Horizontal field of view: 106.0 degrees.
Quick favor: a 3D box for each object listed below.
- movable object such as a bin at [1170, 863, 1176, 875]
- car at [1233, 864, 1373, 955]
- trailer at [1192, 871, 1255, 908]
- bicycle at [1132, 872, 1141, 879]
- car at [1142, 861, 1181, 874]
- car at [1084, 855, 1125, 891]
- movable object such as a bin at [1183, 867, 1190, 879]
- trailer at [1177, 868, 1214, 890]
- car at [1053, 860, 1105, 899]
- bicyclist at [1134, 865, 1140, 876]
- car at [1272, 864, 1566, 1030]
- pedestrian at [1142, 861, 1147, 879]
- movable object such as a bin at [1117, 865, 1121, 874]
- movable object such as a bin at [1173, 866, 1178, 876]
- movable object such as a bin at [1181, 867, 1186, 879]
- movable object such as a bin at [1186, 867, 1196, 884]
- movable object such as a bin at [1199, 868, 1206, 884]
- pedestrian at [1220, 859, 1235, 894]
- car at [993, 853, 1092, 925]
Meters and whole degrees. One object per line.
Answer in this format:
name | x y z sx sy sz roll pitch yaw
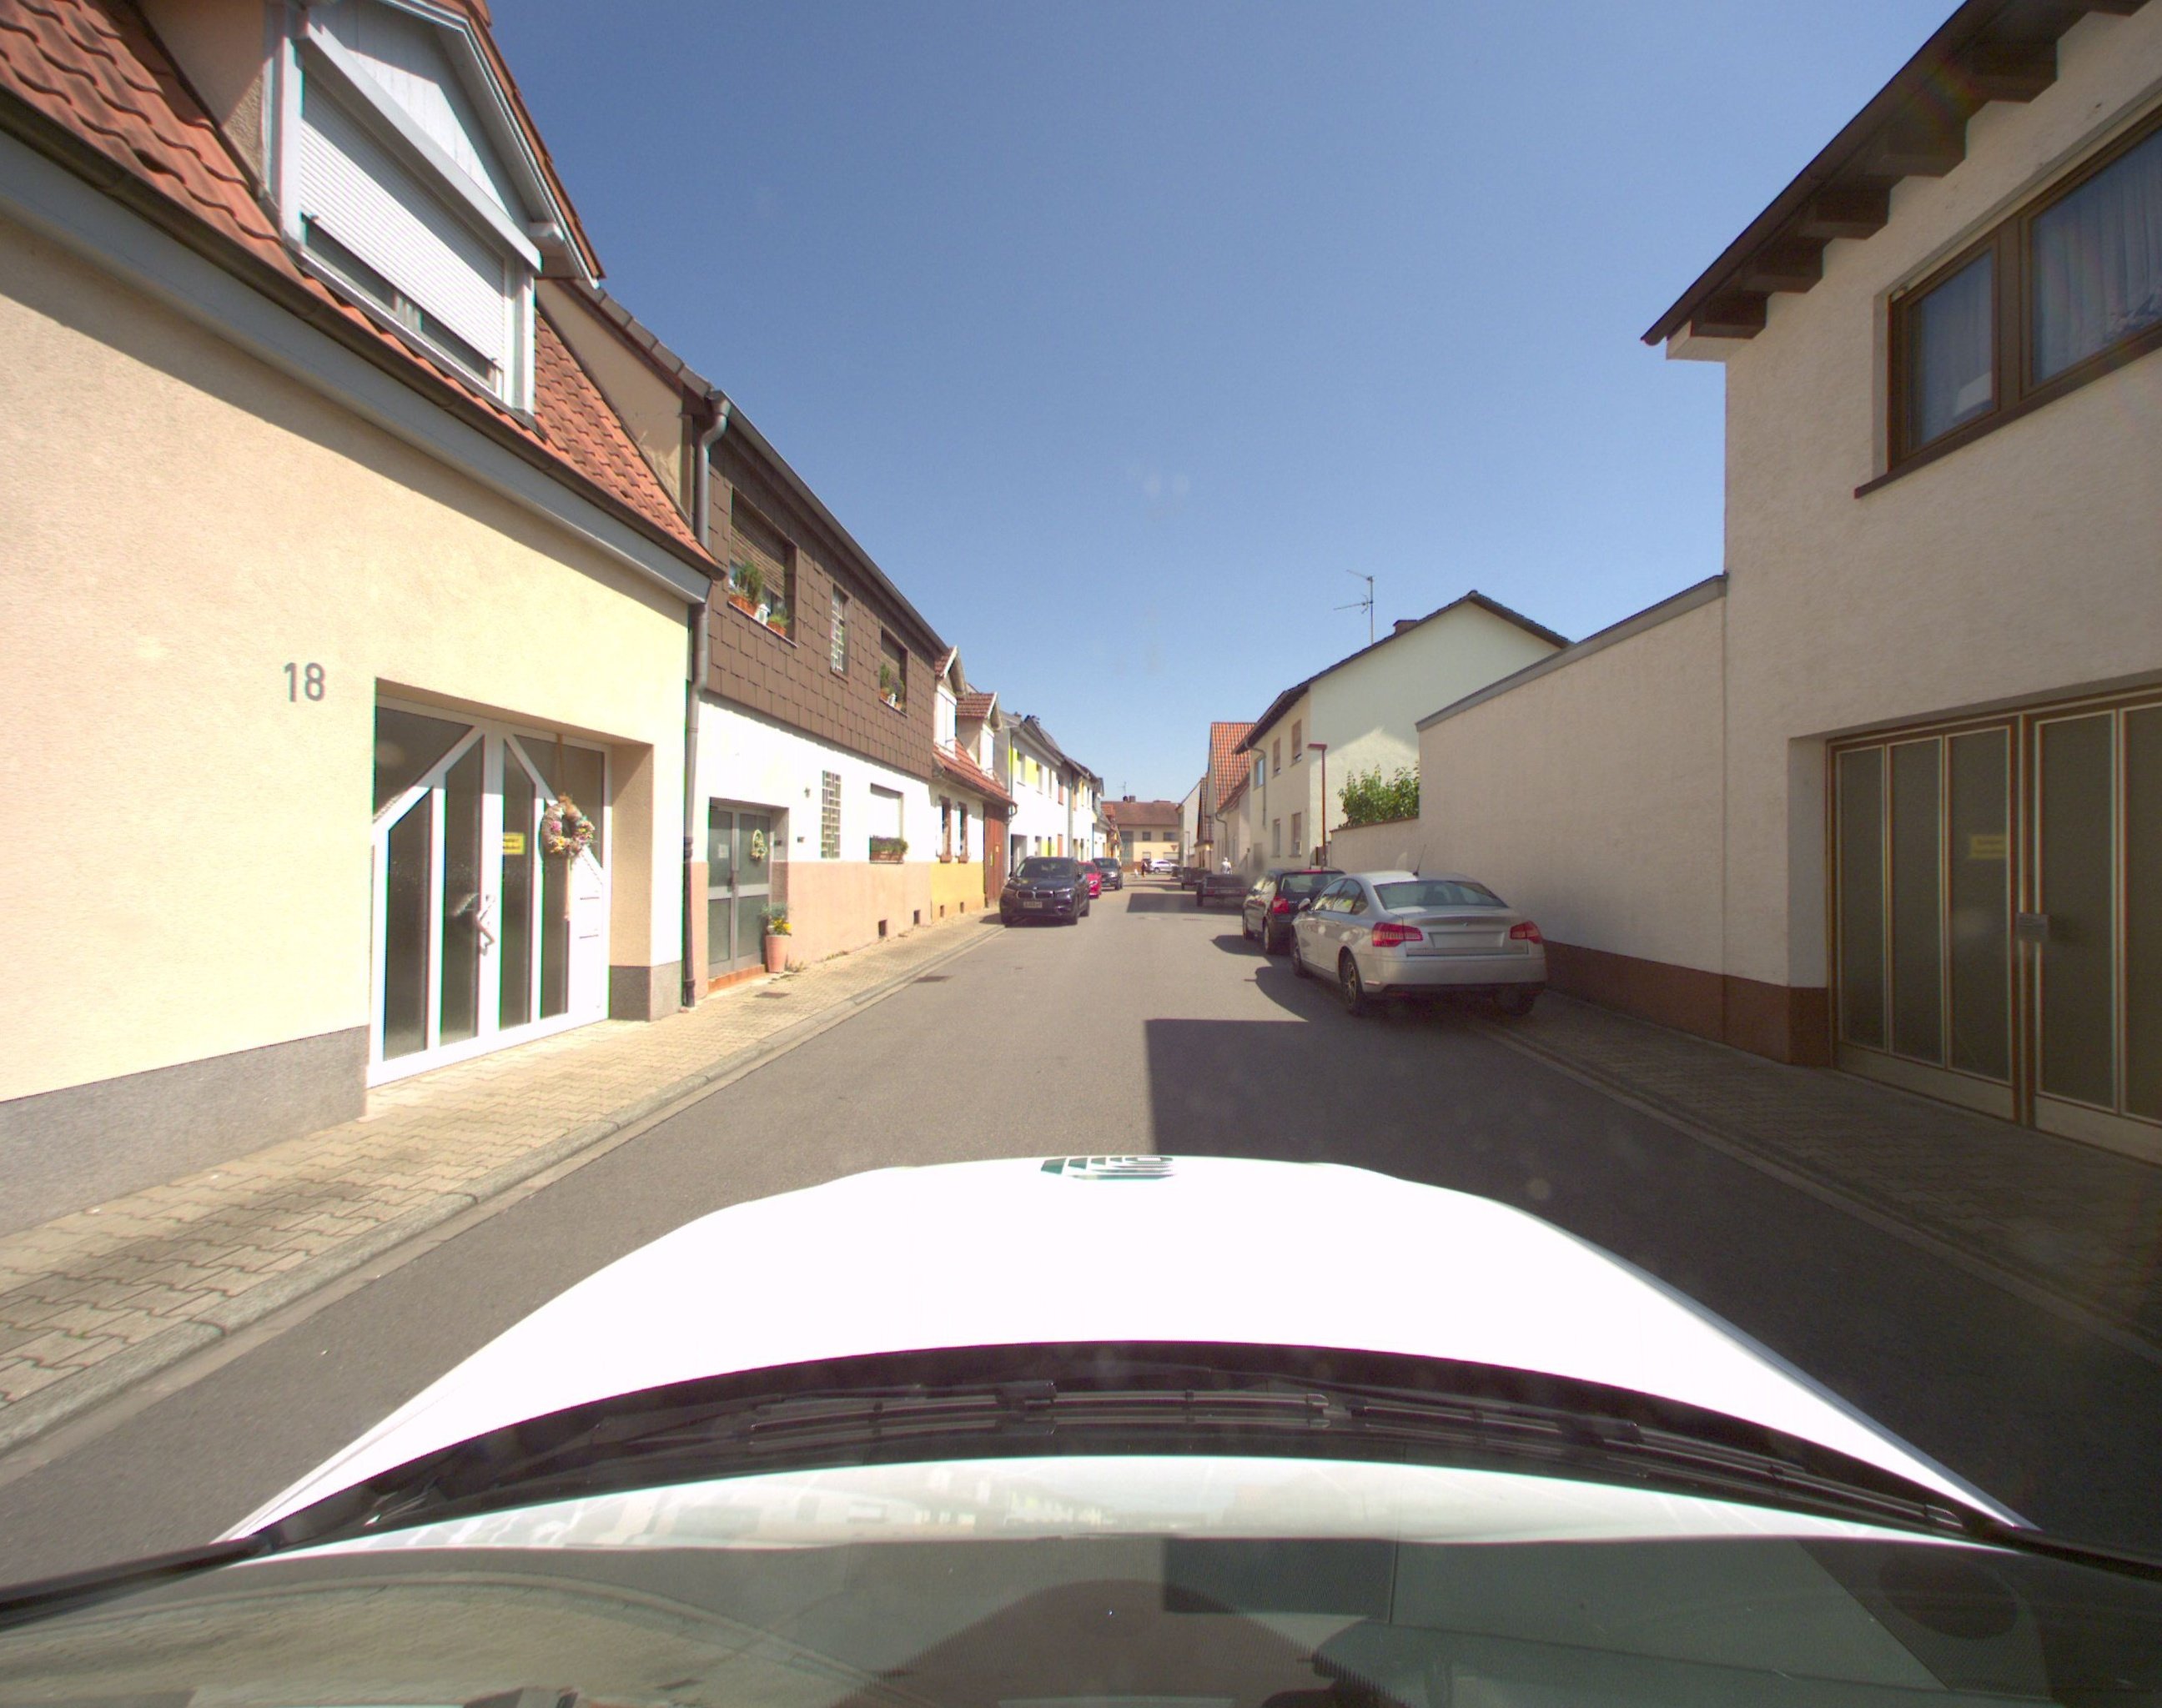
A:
movable object such as a bin | 8.754 1.457 77.653 0.567 1.128 0.454 0 -1 2
car | 3.908 0.910 15.004 1.642 1.436 4.137 0 -1 3
trailer | 4.681 1.144 27.201 1.808 1.090 3.486 1 0 5
bicycle | 5.074 1.931 73.894 0.443 0.567 0.932 1 -1 -24
car | 10.228 1.757 103.830 4.774 1.585 1.786 1 -1 -26
car | 1.242 0.936 40.638 1.791 1.704 4.493 -1 -1 5
movable object such as a bin | 9.571 1.704 73.837 0.523 1.128 0.366 0 -1 2
trailer | 5.869 1.248 42.079 1.691 1.033 3.485 1 0 5
car | -0.009 0.989 32.915 1.792 1.441 4.491 0 -1 3
bicyclist | 5.060 1.485 73.887 0.463 0.959 0.349 1 -3 -24
car | 3.657 0.887 9.900 1.783 1.481 4.938 -1 -1 4
pedestrian | 5.768 1.452 74.138 0.411 1.610 0.367 0 -1 -5
movable object such as a bin | 3.873 1.609 83.458 0.447 0.921 0.404 0 -1 2
movable object such as a bin | 8.907 1.632 77.028 0.422 0.975 0.473 0 -1 2
movable object such as a bin | 9.647 1.740 76.407 0.424 1.128 0.414 0 -1 2
movable object such as a bin | 7.066 1.372 52.160 0.582 1.033 0.596 0 -1 3
movable object such as a bin | 8.701 1.585 58.528 0.455 1.087 0.503 0 -1 3
pedestrian | 6.808 1.043 37.811 0.593 1.565 0.557 1 -4 2
car | -0.828 0.804 20.315 1.791 1.574 4.622 0 -1 6
